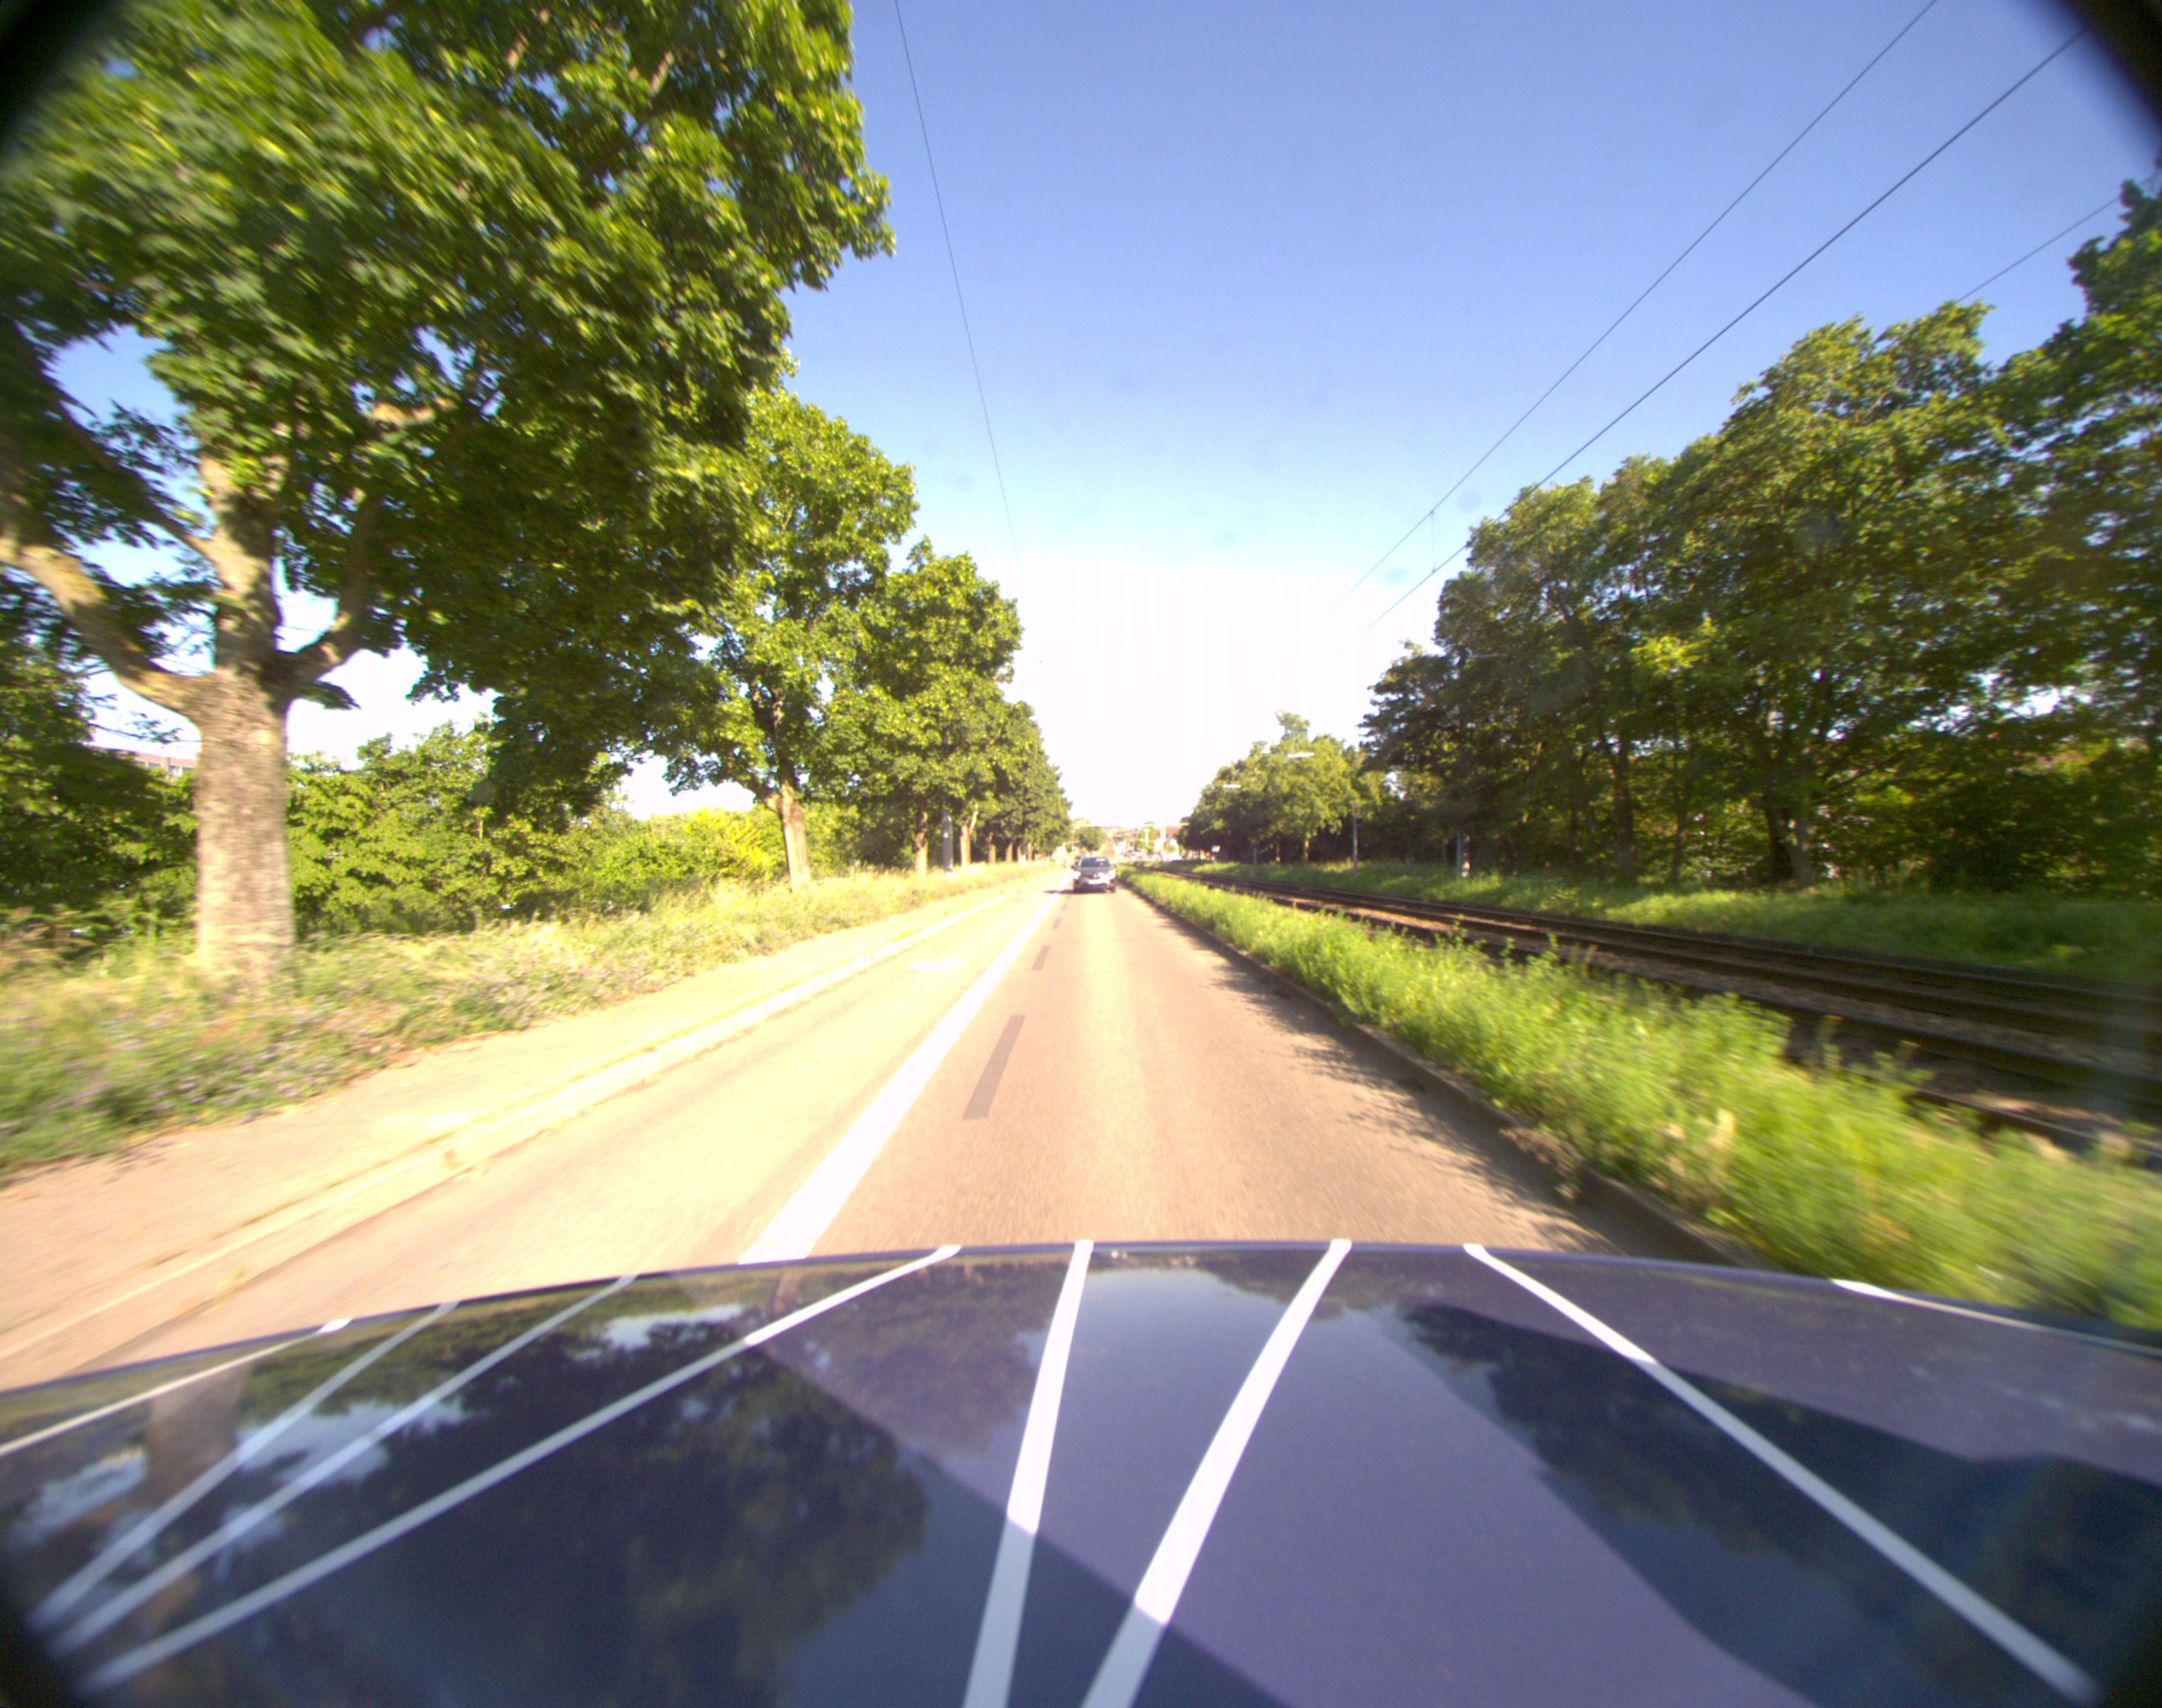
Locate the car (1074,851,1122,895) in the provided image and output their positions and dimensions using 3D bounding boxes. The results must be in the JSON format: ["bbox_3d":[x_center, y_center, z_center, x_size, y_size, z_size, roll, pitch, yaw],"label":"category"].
[{"bbox_3d":[0.701,0.744,32.146,1.814,1.625,4.709,-2,1,1],"label":"car"}]

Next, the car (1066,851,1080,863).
[{"bbox_3d":[-1.151,0.373,110.215,1.814,1.625,4.128,-3,1,1],"label":"car"}]
